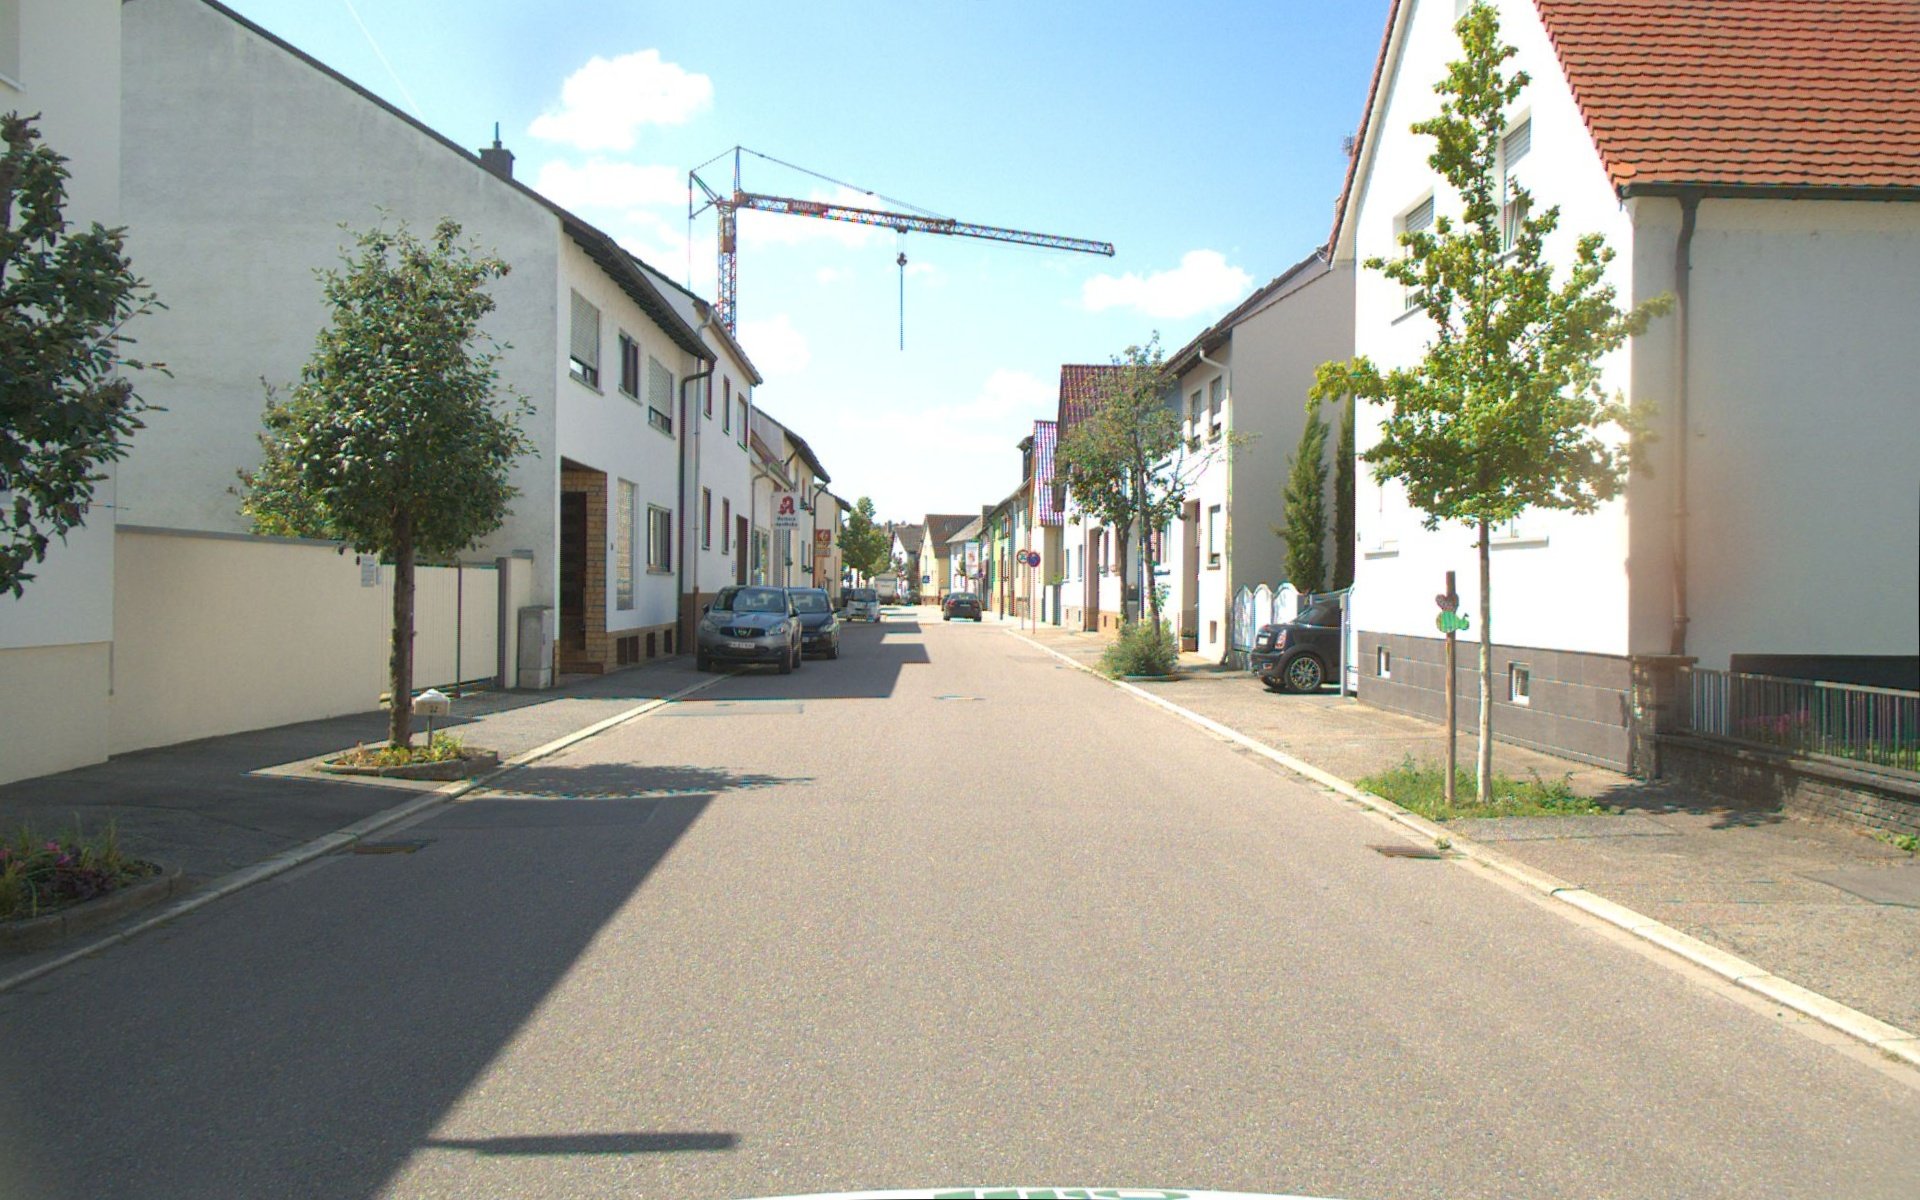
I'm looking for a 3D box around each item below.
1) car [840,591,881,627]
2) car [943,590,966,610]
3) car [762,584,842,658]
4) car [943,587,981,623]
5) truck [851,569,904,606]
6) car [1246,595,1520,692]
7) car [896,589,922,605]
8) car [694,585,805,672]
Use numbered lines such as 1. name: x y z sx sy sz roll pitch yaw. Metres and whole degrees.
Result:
1. car: -4.667 0.388 77.859 1.688 1.583 4.171 2 0 -1
2. car: -0.470 -0.001 138.028 1.747 1.591 4.334 0 0 -3
3. car: -3.642 0.456 38.712 1.620 1.637 4.059 0 0 -2
4. car: 0.098 0.237 84.002 1.747 1.784 3.998 0 0 -3
5. truck: -9.222 -1.352 183.111 3.321 3.933 13.876 0 0 -14
6. car: 6.553 0.652 25.897 3.842 1.439 1.740 0 0 -1
7. car: -5.714 -0.364 184.968 1.755 1.784 4.207 0 0 -18
8. car: -3.987 0.499 31.920 1.723 1.551 4.287 0 0 -2
